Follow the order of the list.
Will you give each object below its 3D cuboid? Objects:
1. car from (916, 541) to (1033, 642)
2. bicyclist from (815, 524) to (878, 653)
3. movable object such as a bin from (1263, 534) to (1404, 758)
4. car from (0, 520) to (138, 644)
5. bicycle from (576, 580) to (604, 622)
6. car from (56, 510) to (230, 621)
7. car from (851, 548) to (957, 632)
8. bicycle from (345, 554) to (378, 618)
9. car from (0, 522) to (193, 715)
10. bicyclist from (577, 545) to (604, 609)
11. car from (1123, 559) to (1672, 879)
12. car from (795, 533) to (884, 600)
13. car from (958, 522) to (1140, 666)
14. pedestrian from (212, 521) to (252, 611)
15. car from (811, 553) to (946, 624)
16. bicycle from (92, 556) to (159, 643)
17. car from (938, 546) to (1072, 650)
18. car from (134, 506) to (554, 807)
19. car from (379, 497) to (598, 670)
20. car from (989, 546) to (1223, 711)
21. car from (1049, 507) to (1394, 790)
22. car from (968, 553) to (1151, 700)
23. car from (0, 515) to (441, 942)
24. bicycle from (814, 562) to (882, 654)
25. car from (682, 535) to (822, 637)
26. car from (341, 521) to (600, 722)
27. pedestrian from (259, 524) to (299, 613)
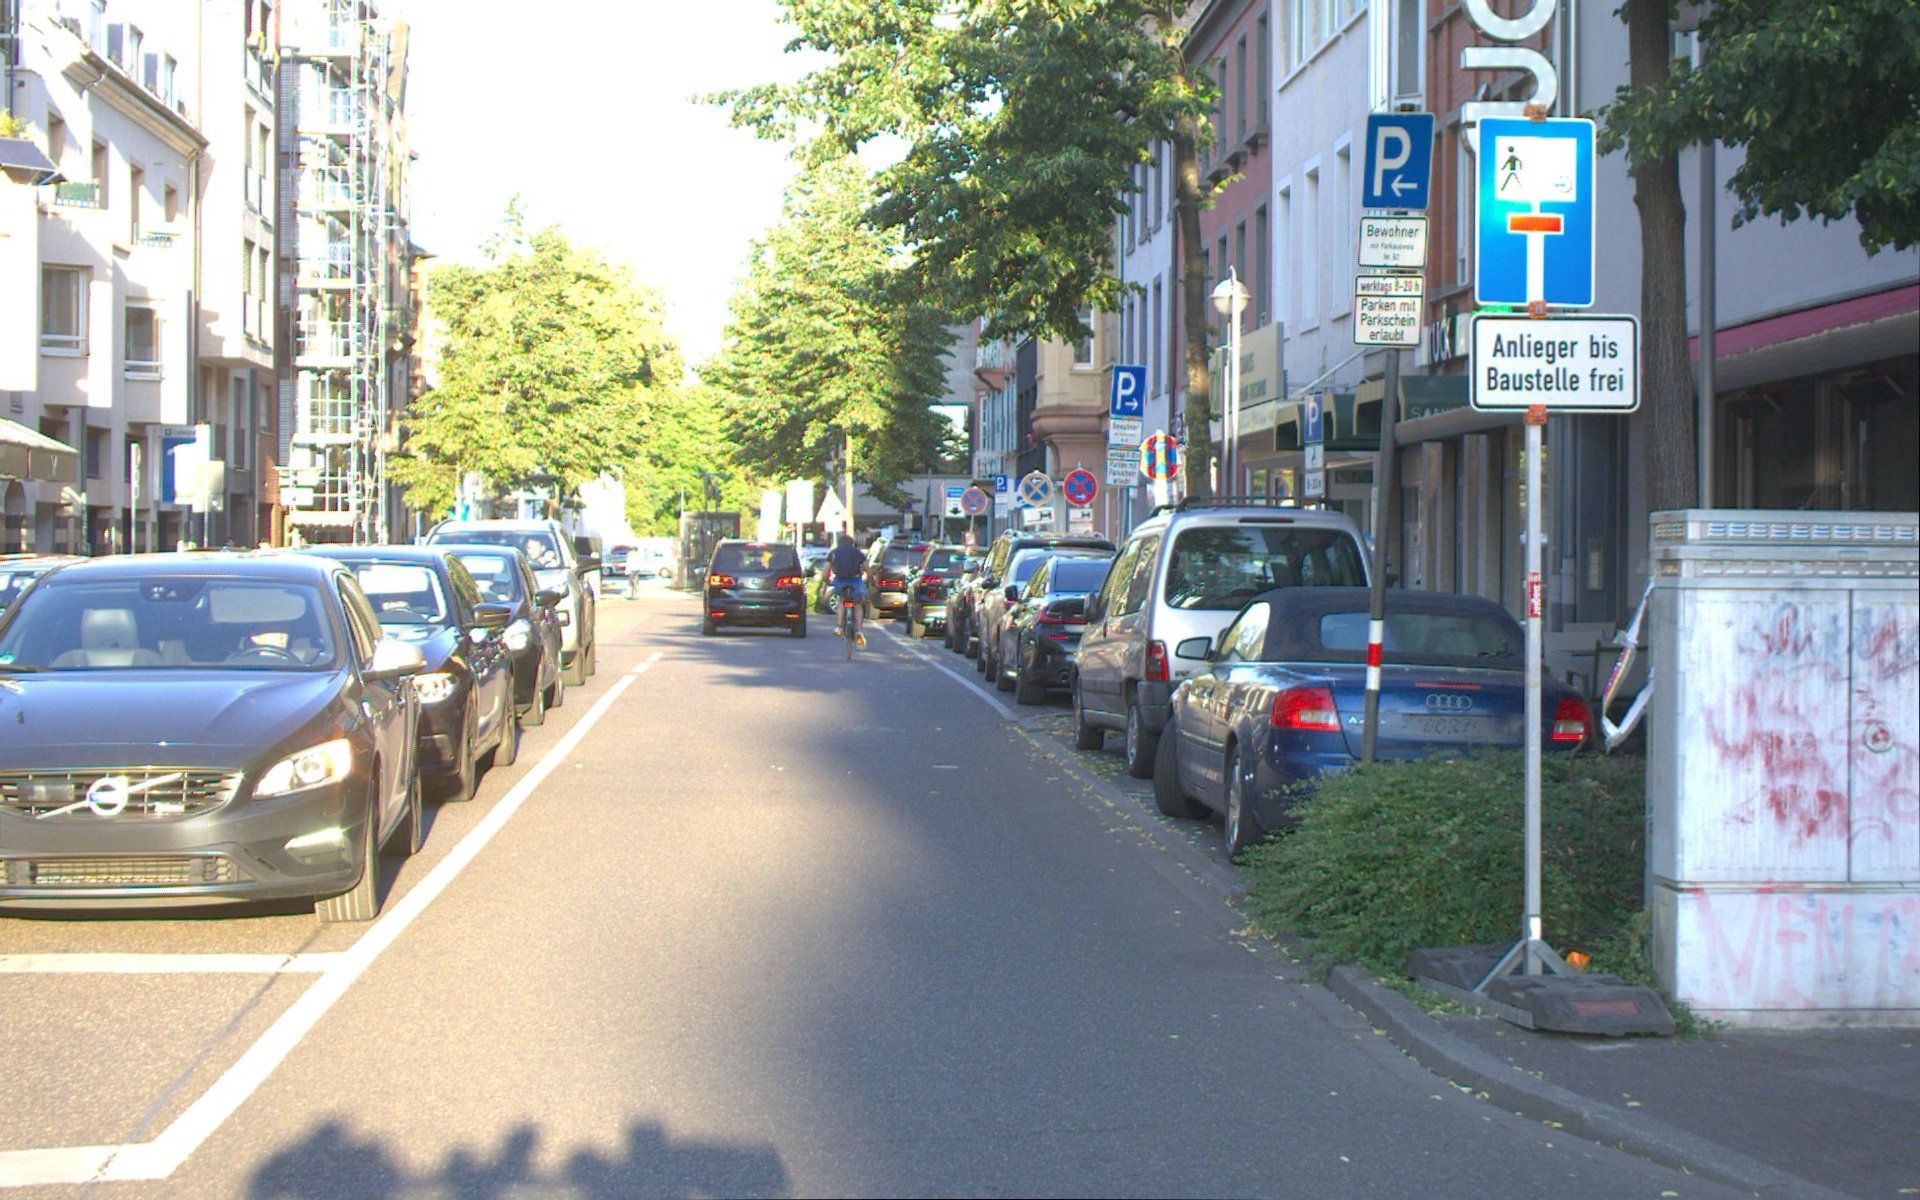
[{"bbox_3d":[0.225,-0.152,60.943,1.811,1.662,4.206,2,0,-3],"label":"car"},{"bbox_3d":[-1.514,-0.154,45.626,0.780,1.690,1.007,0,0,-5],"label":"bicyclist"},{"bbox_3d":[3.053,0.366,28.187,0.834,1.768,1.206,2,0,-7],"label":"movable object such as a bin"},{"bbox_3d":[-11.164,-0.233,41.660,1.660,1.398,3.884,2,0,-4],"label":"car"},{"bbox_3d":[-10.739,0.016,99.748,0.780,1.200,2.021,0,0,-5],"label":"bicycle"},{"bbox_3d":[-11.560,-0.476,48.851,1.711,1.449,3.725,2,0,-3],"label":"car"},{"bbox_3d":[-1.235,-0.231,74.122,1.824,1.689,4.369,2,0,-6],"label":"car"},{"bbox_3d":[-13.605,-0.325,78.131,0.584,1.391,3.162,2,0,-12],"label":"bicycle"},{"bbox_3d":[-7.991,0.155,29.494,1.993,1.506,4.510,-2,0,-3],"label":"car"},{"bbox_3d":[-10.714,-0.669,99.700,0.780,1.823,1.007,0,0,-5],"label":"bicyclist"},{"bbox_3d":[2.101,0.521,17.765,1.936,1.371,4.183,2,1,-5],"label":"car"},{"bbox_3d":[-3.797,-1.037,107.313,2.265,1.760,4.510,7,0,-6],"label":"car"},{"bbox_3d":[1.126,-0.085,45.997,1.883,1.748,5.059,2,0,-4],"label":"car"},{"bbox_3d":[-14.509,-0.668,68.525,0.716,1.761,0.694,2,0,-11],"label":"pedestrian"},{"bbox_3d":[-1.923,-0.258,80.255,2.968,1.531,1.434,2,0,-7],"label":"car"},{"bbox_3d":[-13.662,-0.007,56.327,0.610,1.370,2.359,2,0,-4],"label":"bicycle"},{"bbox_3d":[0.645,-0.036,52.917,1.762,1.478,4.307,2,0,-3],"label":"car"},{"bbox_3d":[-3.636,0.297,21.081,1.946,1.639,4.616,0,0,-3],"label":"car"},{"bbox_3d":[-4.735,-0.169,35.095,1.940,1.639,4.739,0,0,-4],"label":"car"},{"bbox_3d":[1.359,0.228,33.764,1.752,1.415,4.510,2,1,-4],"label":"car"},{"bbox_3d":[1.749,0.266,24.232,1.654,1.772,4.013,2,1,-6],"label":"car"},{"bbox_3d":[1.084,0.279,39.678,1.812,1.522,4.994,2,0,-1],"label":"car"},{"bbox_3d":[-3.351,0.437,14.700,1.958,1.542,4.510,1,1,-5],"label":"car"},{"bbox_3d":[-1.503,0.099,45.671,0.780,1.200,2.021,0,0,-5],"label":"bicycle"},{"bbox_3d":[-3.510,-0.239,58.722,1.993,1.596,4.509,2,0,1],"label":"car"},{"bbox_3d":[-3.998,0.152,28.676,1.723,1.544,4.465,0,0,-3],"label":"car"},{"bbox_3d":[-13.609,-0.627,68.671,0.716,1.734,0.739,2,0,-11],"label":"pedestrian"}]
